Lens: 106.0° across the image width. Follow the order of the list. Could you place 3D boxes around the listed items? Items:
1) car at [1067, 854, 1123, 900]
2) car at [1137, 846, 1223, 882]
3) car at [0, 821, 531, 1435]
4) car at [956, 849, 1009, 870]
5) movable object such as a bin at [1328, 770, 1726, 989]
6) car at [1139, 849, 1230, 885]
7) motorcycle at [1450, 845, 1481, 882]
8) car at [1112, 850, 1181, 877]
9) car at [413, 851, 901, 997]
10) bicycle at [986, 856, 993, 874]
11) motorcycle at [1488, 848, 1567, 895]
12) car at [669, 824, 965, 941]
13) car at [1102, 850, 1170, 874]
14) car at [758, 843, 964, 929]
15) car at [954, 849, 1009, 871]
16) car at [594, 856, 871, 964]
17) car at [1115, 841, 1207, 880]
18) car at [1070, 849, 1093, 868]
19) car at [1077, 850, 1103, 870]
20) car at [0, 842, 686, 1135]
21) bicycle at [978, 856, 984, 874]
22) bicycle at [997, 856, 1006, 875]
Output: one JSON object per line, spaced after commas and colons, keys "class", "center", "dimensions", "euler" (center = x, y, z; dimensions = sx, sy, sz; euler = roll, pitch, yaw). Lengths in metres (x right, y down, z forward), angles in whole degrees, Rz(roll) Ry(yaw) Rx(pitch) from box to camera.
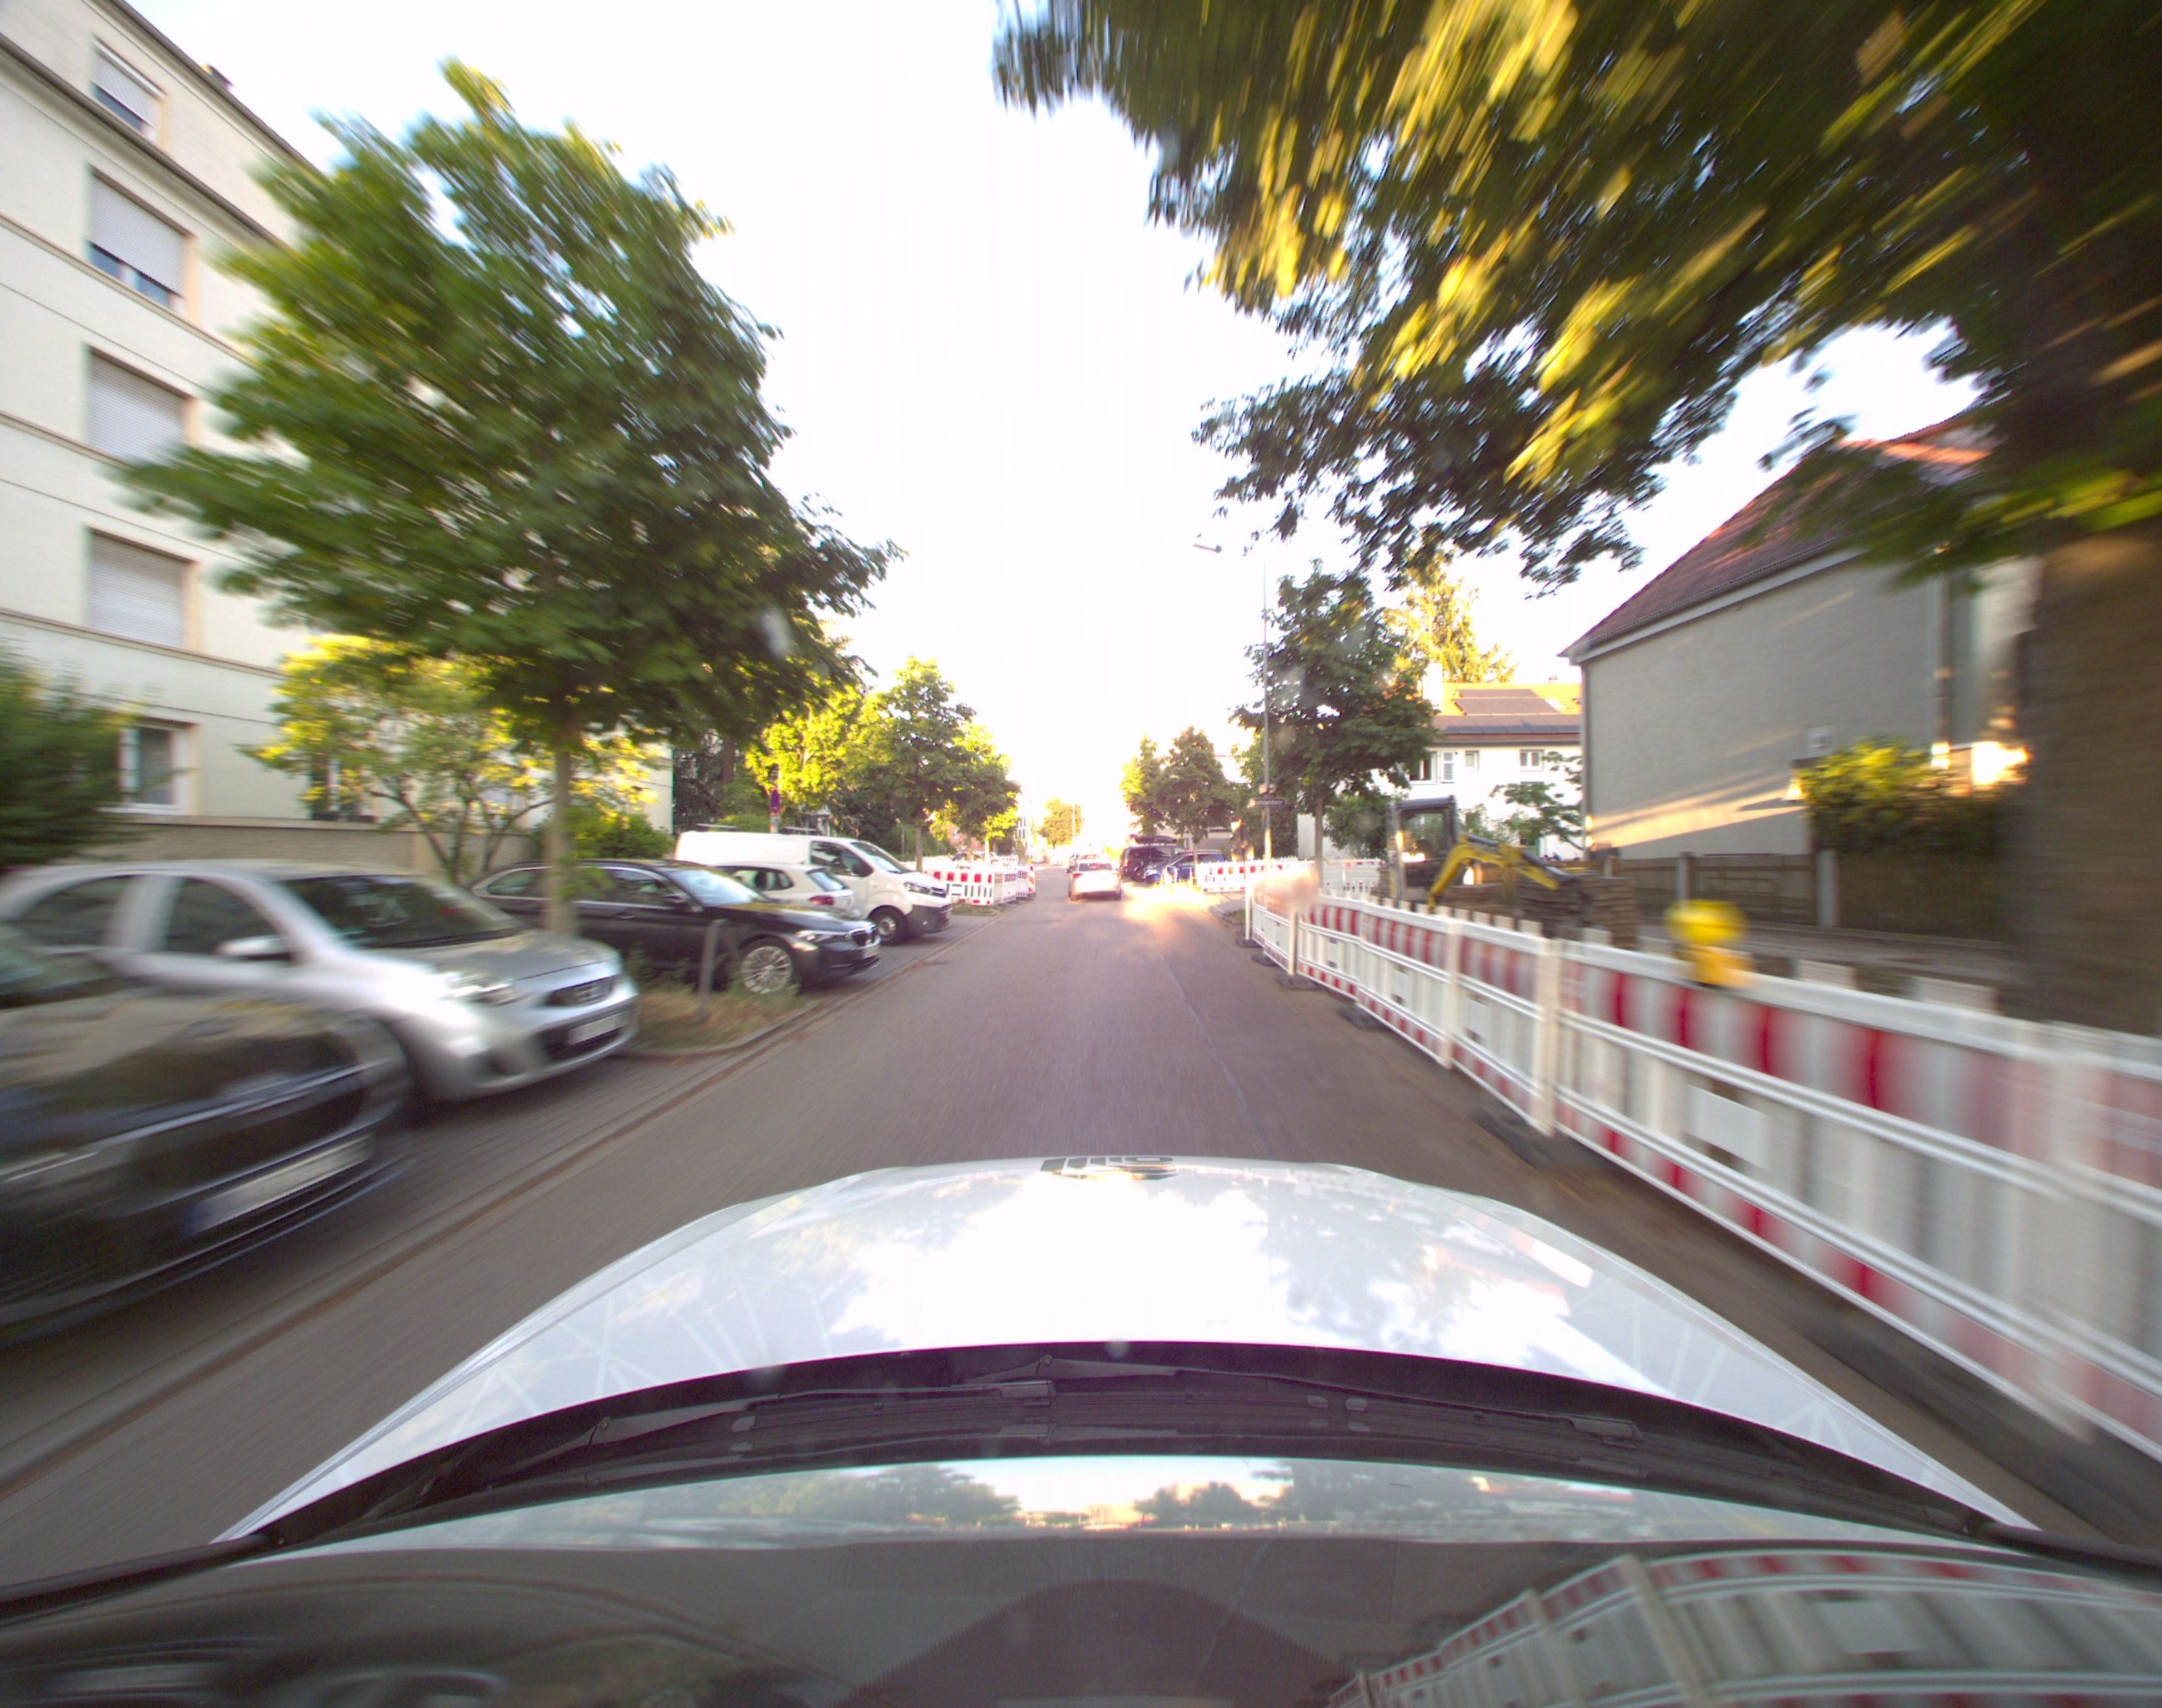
{"class": "car", "center": [0.494, 0.763, 29.168], "dimensions": [1.801, 1.488, 4.001], "euler": [-2, 0, 1]}
{"class": "car", "center": [4.968, 0.494, 41.147], "dimensions": [3.983, 1.768, 1.995], "euler": [0, 0, -7]}
{"class": "car", "center": [-4.888, 0.715, 2.964], "dimensions": [4.396, 1.615, 1.898], "euler": [0, 0, -3]}
{"class": "car", "center": [-7.581, 0.427, 62.995], "dimensions": [3.983, 1.480, 1.995], "euler": [-2, 1, -7]}
{"class": "movable object such as a bin", "center": [5.766, 0.260, 11.632], "dimensions": [2.623, 2.402, 5.190], "euler": [0, 0, -4]}
{"class": "car", "center": [4.868, 0.608, 38.643], "dimensions": [3.987, 1.651, 1.759], "euler": [0, 0, -10]}
{"class": "motorcycle", "center": [11.690, 0.272, 24.727], "dimensions": [0.573, 1.105, 1.859], "euler": [0, 0, 35]}
{"class": "car", "center": [4.094, 0.568, 51.105], "dimensions": [3.939, 1.649, 1.970], "euler": [0, 0, -10]}
{"class": "car", "center": [-4.766, 0.754, 9.692], "dimensions": [4.756, 1.470, 1.881], "euler": [1, 0, 0]}
{"class": "bicycle", "center": [-6.295, 0.733, 55.953], "dimensions": [0.405, 1.227, 1.982], "euler": [0, 0, -7]}
{"class": "motorcycle", "center": [13.827, 0.509, 25.259], "dimensions": [0.601, 1.416, 2.056], "euler": [0, 0, -42]}
{"class": "car", "center": [-4.667, 0.481, 14.973], "dimensions": [4.756, 2.013, 2.000], "euler": [0, 0, 0]}
{"class": "car", "center": [3.578, 0.517, 53.521], "dimensions": [4.149, 1.572, 1.792], "euler": [0, 0, -10]}
{"class": "car", "center": [-4.635, 0.644, 17.617], "dimensions": [3.976, 1.752, 1.799], "euler": [0, 0, -2]}
{"class": "car", "center": [-7.406, 0.428, 60.574], "dimensions": [3.983, 1.625, 1.995], "euler": [0, 0, -7]}
{"class": "car", "center": [-5.125, 0.787, 12.307], "dimensions": [3.401, 1.483, 1.760], "euler": [0, 0, 2]}
{"class": "car", "center": [4.237, 0.318, 43.620], "dimensions": [4.553, 2.023, 2.096], "euler": [0, 0, -8]}
{"class": "car", "center": [0.024, 0.391, 71.703], "dimensions": [1.805, 1.612, 3.576], "euler": [0, 0, -4]}
{"class": "car", "center": [0.677, 0.445, 61.473], "dimensions": [1.726, 1.483, 3.553], "euler": [0, 0, -4]}
{"class": "car", "center": [-5.034, 0.717, 5.343], "dimensions": [3.978, 1.578, 1.799], "euler": [0, 0, -3]}
{"class": "bicycle", "center": [-6.862, 0.738, 56.014], "dimensions": [0.405, 1.227, 1.982], "euler": [0, 0, -7]}
{"class": "bicycle", "center": [-5.465, 0.779, 55.926], "dimensions": [0.406, 1.227, 1.980], "euler": [0, 0, -10]}
